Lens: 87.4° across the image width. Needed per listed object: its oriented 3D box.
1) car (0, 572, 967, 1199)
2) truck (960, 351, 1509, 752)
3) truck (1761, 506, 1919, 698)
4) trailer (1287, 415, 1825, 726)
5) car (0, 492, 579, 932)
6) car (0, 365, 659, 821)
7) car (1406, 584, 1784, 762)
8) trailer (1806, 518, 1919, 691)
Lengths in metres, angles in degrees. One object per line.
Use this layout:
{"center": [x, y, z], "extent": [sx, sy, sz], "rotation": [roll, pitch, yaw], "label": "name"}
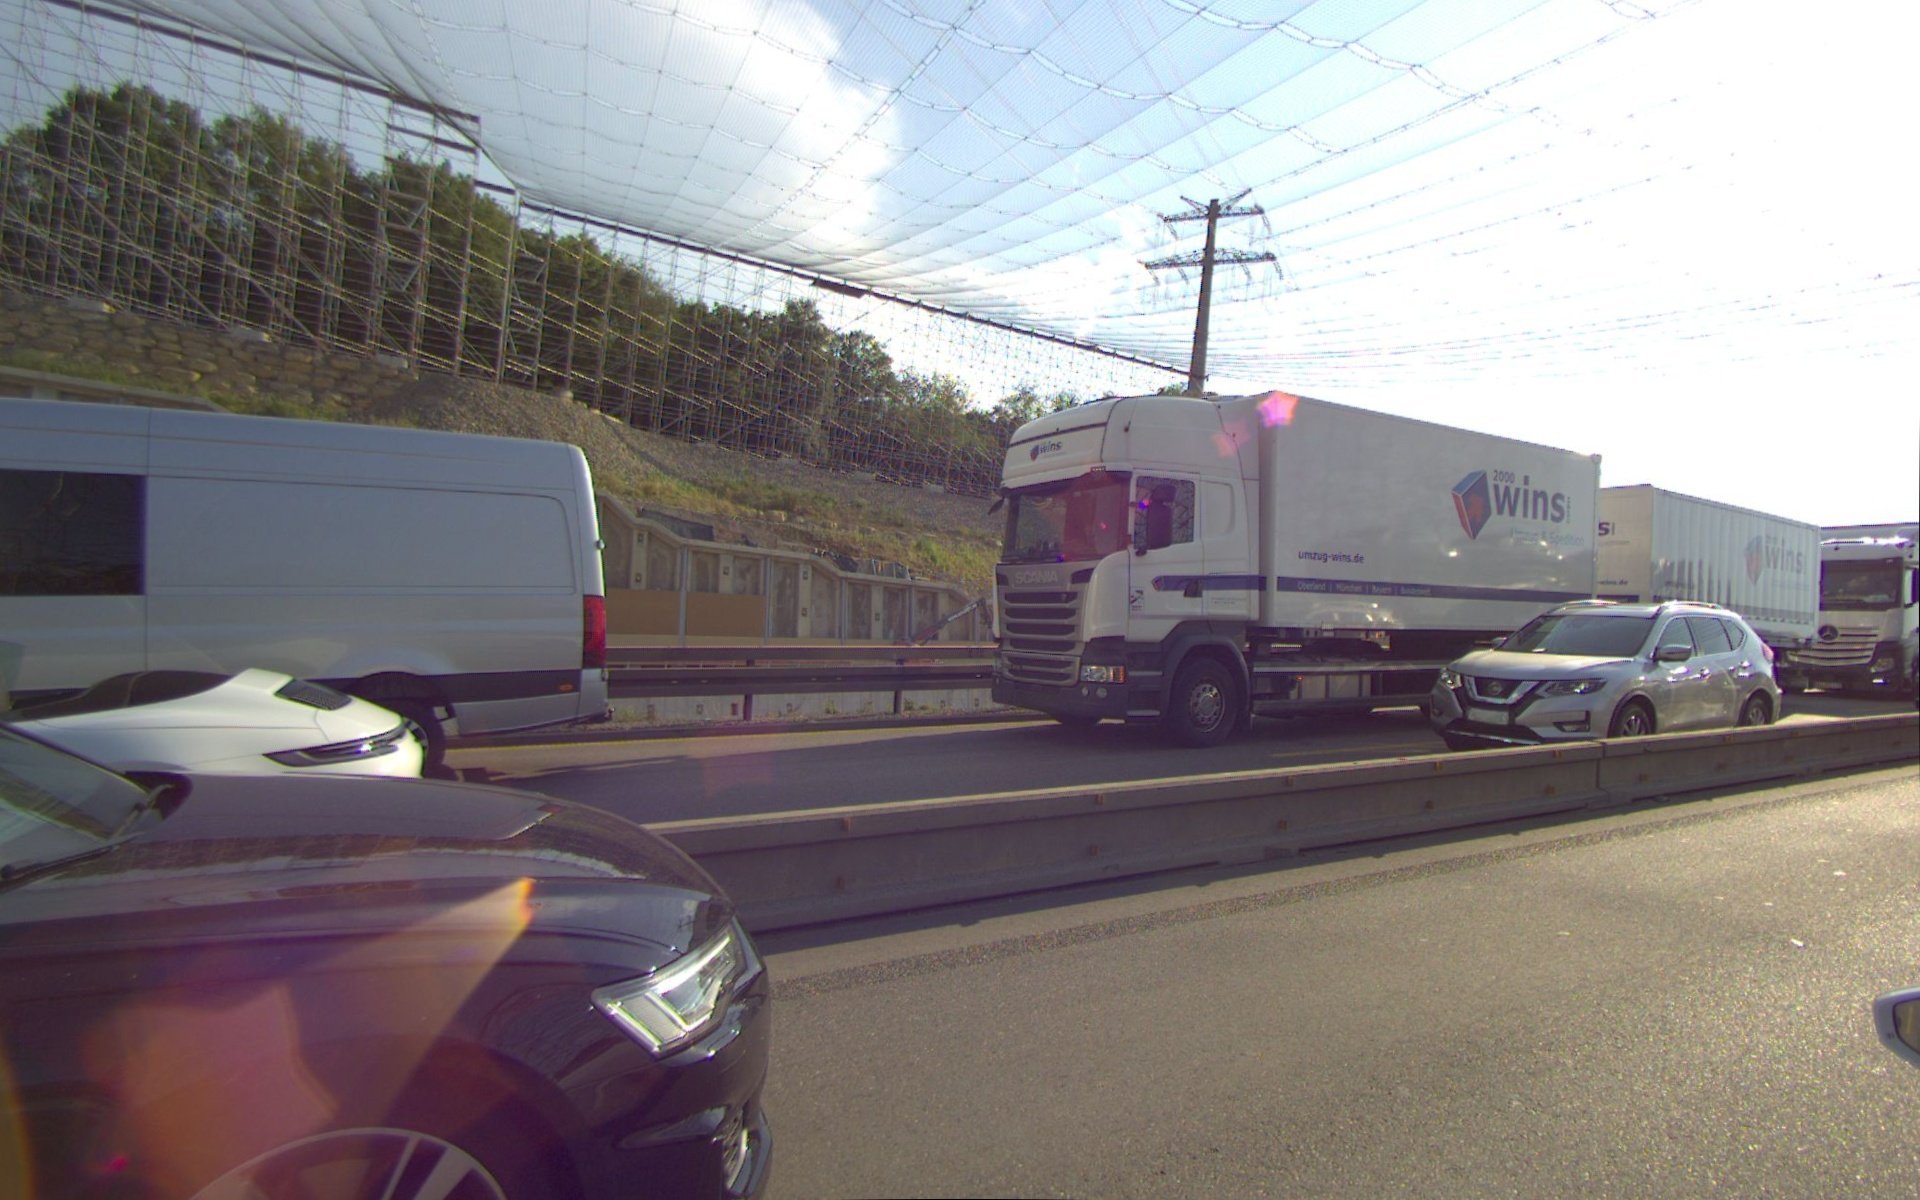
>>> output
{"center": [-2.586, 0.637, 1.612], "extent": [4.902, 1.417, 1.925], "rotation": [1, 0, -30], "label": "car"}
{"center": [3.749, -0.393, 12.938], "extent": [7.125, 3.962, 2.616], "rotation": [2, 0, -32], "label": "truck"}
{"center": [21.737, 0.111, 23.981], "extent": [5.559, 4.099, 2.458], "rotation": [2, 0, -34], "label": "truck"}
{"center": [11.288, -0.214, 17.896], "extent": [13.191, 4.069, 2.654], "rotation": [2, 0, -33], "label": "trailer"}
{"center": [-4.089, 0.391, 4.295], "extent": [4.318, 1.589, 1.798], "rotation": [2, 0, -33], "label": "car"}
{"center": [-6.008, -0.038, 7.236], "extent": [7.001, 2.749, 2.230], "rotation": [2, 0, -31], "label": "car"}
{"center": [6.969, 0.705, 10.904], "extent": [4.318, 1.589, 1.798], "rotation": [2, 0, -33], "label": "car"}
{"center": [27.489, 0.293, 27.905], "extent": [13.954, 4.016, 2.412], "rotation": [2, 0, -34], "label": "trailer"}
